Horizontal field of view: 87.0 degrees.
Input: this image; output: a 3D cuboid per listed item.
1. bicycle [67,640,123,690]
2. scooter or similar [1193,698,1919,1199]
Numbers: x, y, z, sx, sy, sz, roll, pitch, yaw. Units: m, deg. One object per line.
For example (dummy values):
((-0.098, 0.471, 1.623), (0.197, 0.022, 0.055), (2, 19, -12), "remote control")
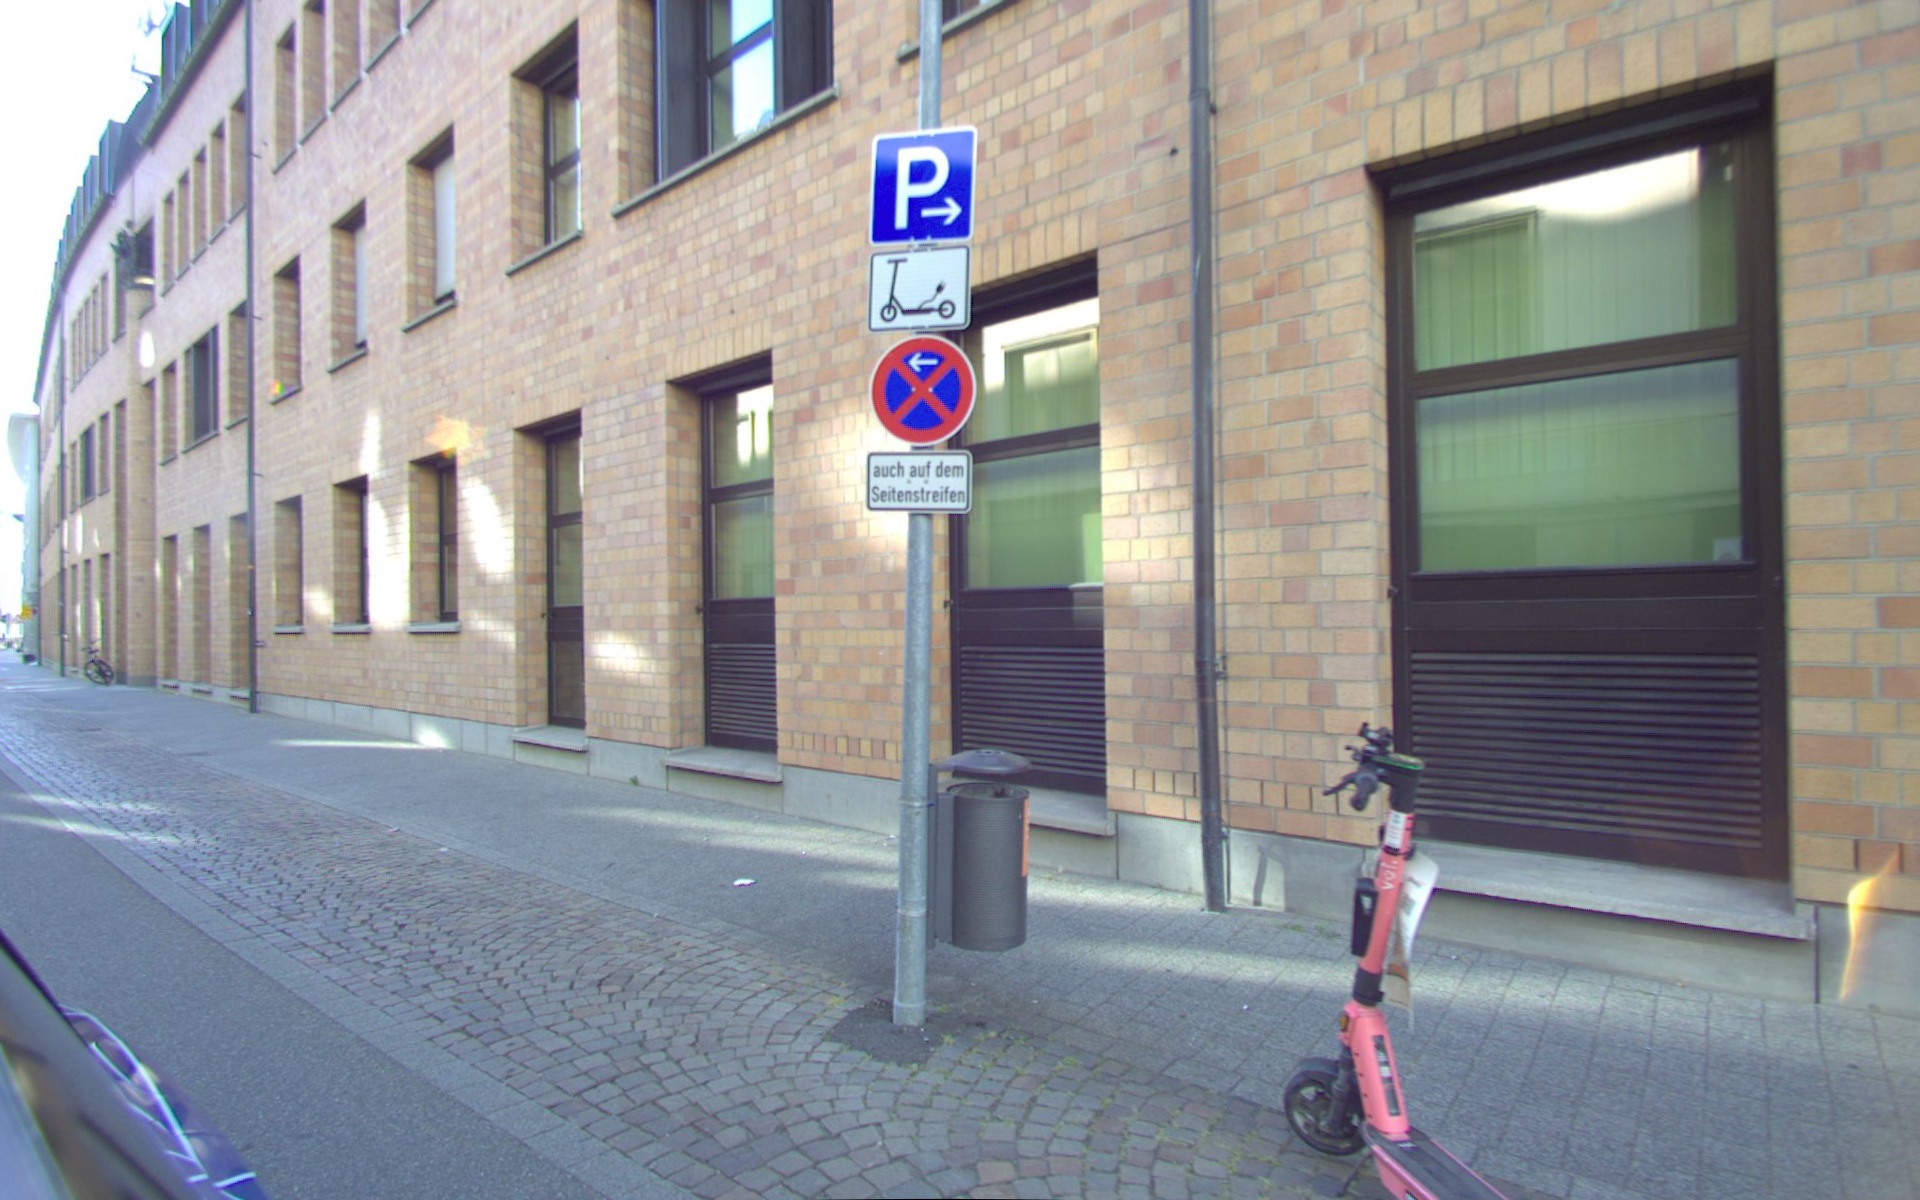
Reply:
((-22.113, 1.654, 25.871), (1.800, 1.171, 0.626), (-3, 1, 36), "bicycle")
((1.235, 0.891, 2.303), (0.688, 1.227, 1.361), (0, -2, -23), "scooter or similar")
